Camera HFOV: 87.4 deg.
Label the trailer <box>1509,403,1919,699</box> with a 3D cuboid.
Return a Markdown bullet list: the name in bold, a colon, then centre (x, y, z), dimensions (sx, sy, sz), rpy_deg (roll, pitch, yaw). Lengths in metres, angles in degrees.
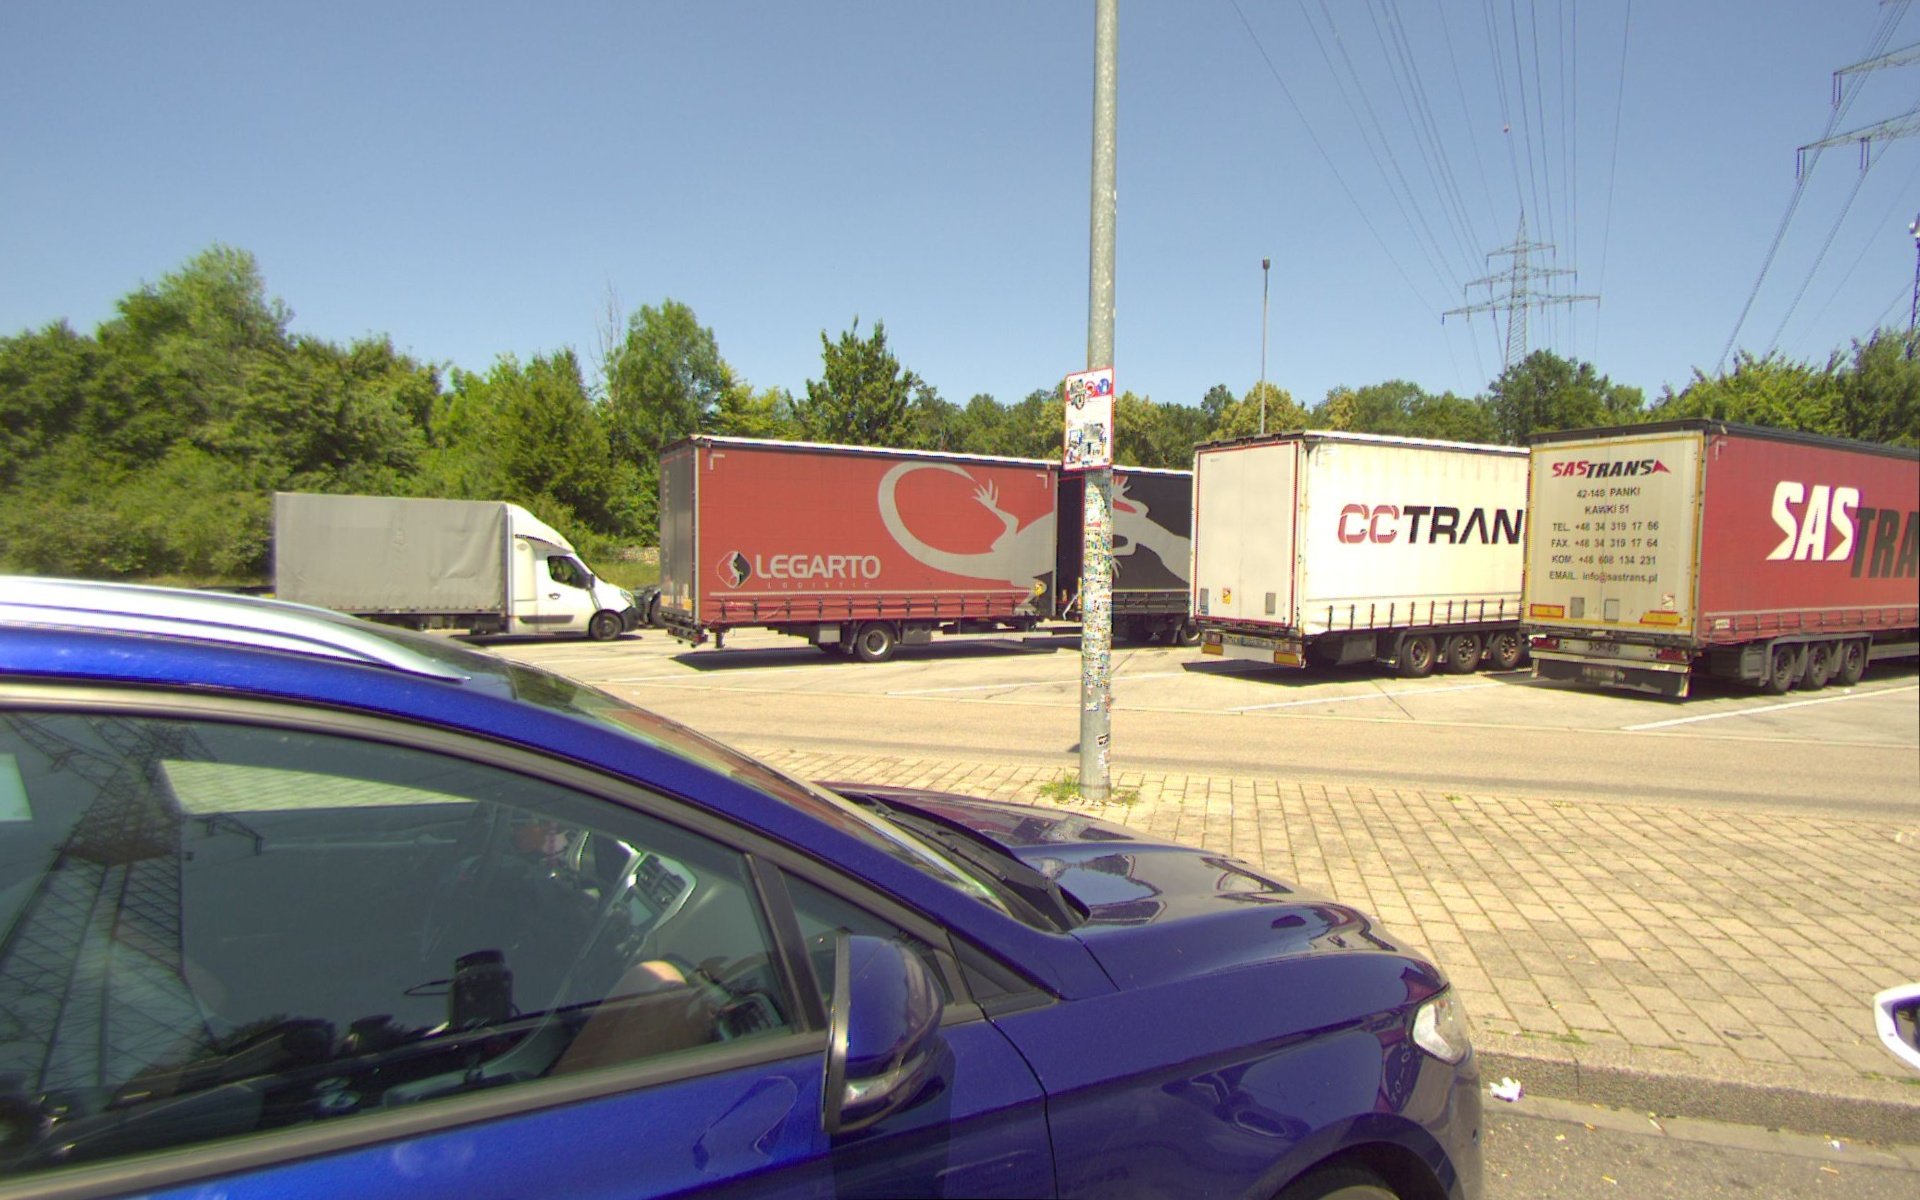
- **trailer**: centre (15.296, -0.668, 18.510), dimensions (13.129, 4.112, 2.736), rpy_deg (0, 1, -31)

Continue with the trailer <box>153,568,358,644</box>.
- **trailer**: centre (-16.518, 0.142, 23.787), dimensions (3.856, 1.684, 1.464), rpy_deg (0, 1, -30)

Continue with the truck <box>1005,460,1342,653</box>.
- **truck**: centre (5.394, -0.910, 24.583), dimensions (8.534, 4.073, 2.624), rpy_deg (0, 1, -30)

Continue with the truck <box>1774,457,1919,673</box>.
- **truck**: centre (20.812, -0.670, 21.773), dimensions (6.749, 4.136, 2.729), rpy_deg (0, 1, -31)

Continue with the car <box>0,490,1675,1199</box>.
- **car**: centre (-1.016, 0.655, 1.465), dimensions (4.419, 1.485, 1.765), rpy_deg (0, 1, -32)

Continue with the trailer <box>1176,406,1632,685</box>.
- **trailer**: centre (8.705, -0.828, 19.108), dimensions (9.614, 4.321, 2.733), rpy_deg (0, 1, -29)

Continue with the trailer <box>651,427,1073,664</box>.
- **trailer**: centre (-1.797, -0.919, 20.310), dimensions (8.158, 4.027, 2.651), rpy_deg (0, 1, -31)

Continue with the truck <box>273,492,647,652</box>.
- **truck**: centre (-11.086, -0.582, 22.847), dimensions (7.265, 3.170, 2.352), rpy_deg (0, 1, -30)
